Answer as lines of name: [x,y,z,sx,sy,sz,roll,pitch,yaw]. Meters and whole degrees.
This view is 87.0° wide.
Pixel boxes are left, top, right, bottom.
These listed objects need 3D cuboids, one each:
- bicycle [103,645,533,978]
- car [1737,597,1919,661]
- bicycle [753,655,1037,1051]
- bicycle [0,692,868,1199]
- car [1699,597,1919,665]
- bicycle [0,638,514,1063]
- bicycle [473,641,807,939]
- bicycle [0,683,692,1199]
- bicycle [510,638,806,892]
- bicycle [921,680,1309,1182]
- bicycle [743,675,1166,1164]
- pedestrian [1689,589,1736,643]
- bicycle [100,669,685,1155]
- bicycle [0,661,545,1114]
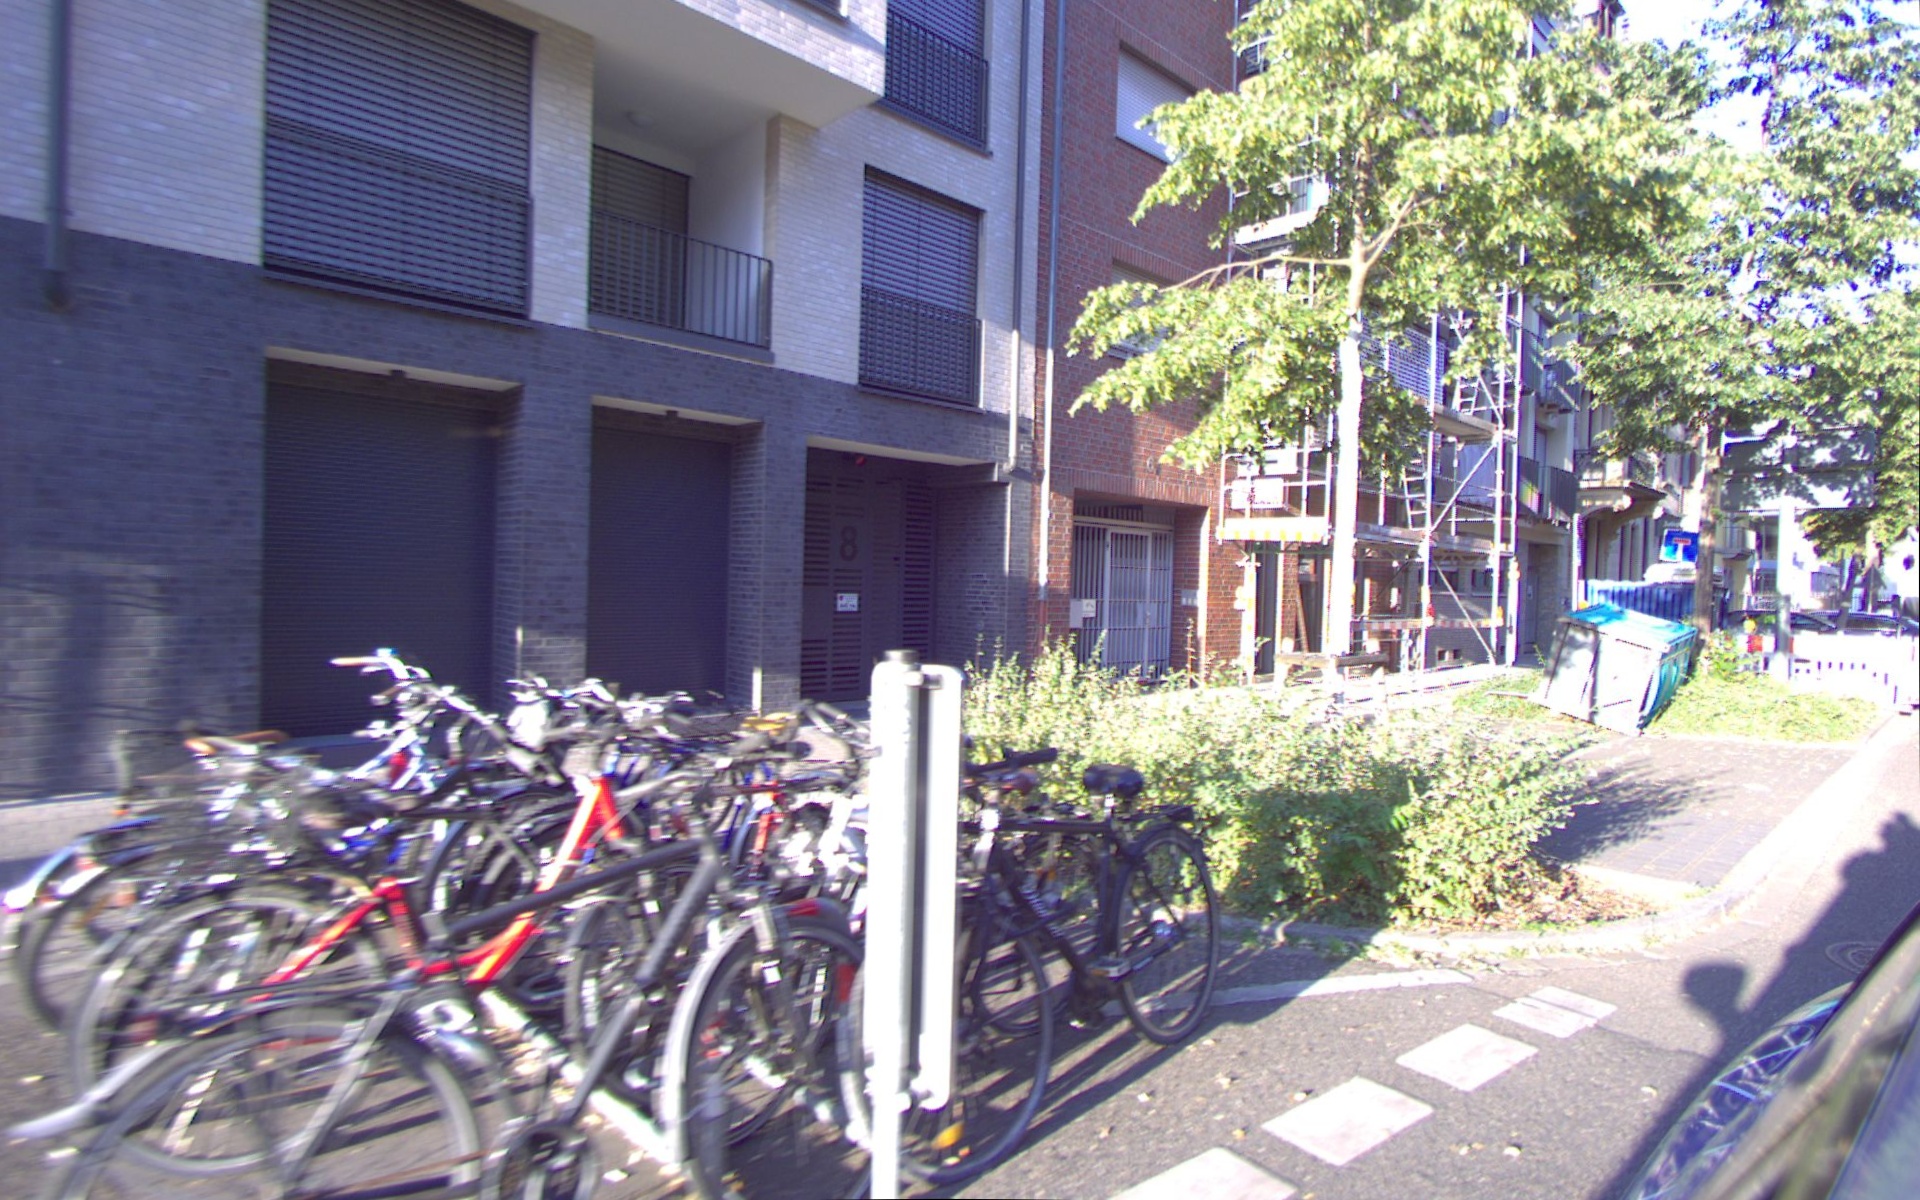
bicycle: [-2.651,0.790,4.315,0.382,1.114,1.499,2,2,43]
car: [25.447,0.809,29.169,1.879,1.529,4.533,2,2,-43]
bicycle: [-0.167,0.824,3.892,0.379,1.114,1.510,2,1,25]
bicycle: [-0.947,0.818,1.994,1.536,1.155,0.363,0,1,-35]
car: [23.293,0.777,27.760,1.834,1.497,4.537,1,3,-40]
bicycle: [-2.467,0.773,3.700,0.381,1.204,1.499,1,0,43]
bicycle: [-1.416,0.785,4.719,0.381,1.114,1.501,2,1,40]
bicycle: [-1.505,0.819,2.638,1.493,1.122,0.372,1,1,-32]
bicycle: [-1.544,0.791,5.374,0.382,1.114,1.499,2,1,43]
bicycle: [0.560,0.865,3.150,0.382,1.114,1.499,2,1,44]
bicycle: [0.067,0.847,3.202,0.382,1.114,1.499,2,1,44]
pedestrian: [24.200,0.496,32.553,0.943,1.679,0.639,2,1,5]
bicycle: [-1.669,0.819,3.166,1.538,1.114,0.382,1,1,-42]
bicycle: [-2.198,0.806,3.350,0.382,1.114,1.499,1,1,43]
